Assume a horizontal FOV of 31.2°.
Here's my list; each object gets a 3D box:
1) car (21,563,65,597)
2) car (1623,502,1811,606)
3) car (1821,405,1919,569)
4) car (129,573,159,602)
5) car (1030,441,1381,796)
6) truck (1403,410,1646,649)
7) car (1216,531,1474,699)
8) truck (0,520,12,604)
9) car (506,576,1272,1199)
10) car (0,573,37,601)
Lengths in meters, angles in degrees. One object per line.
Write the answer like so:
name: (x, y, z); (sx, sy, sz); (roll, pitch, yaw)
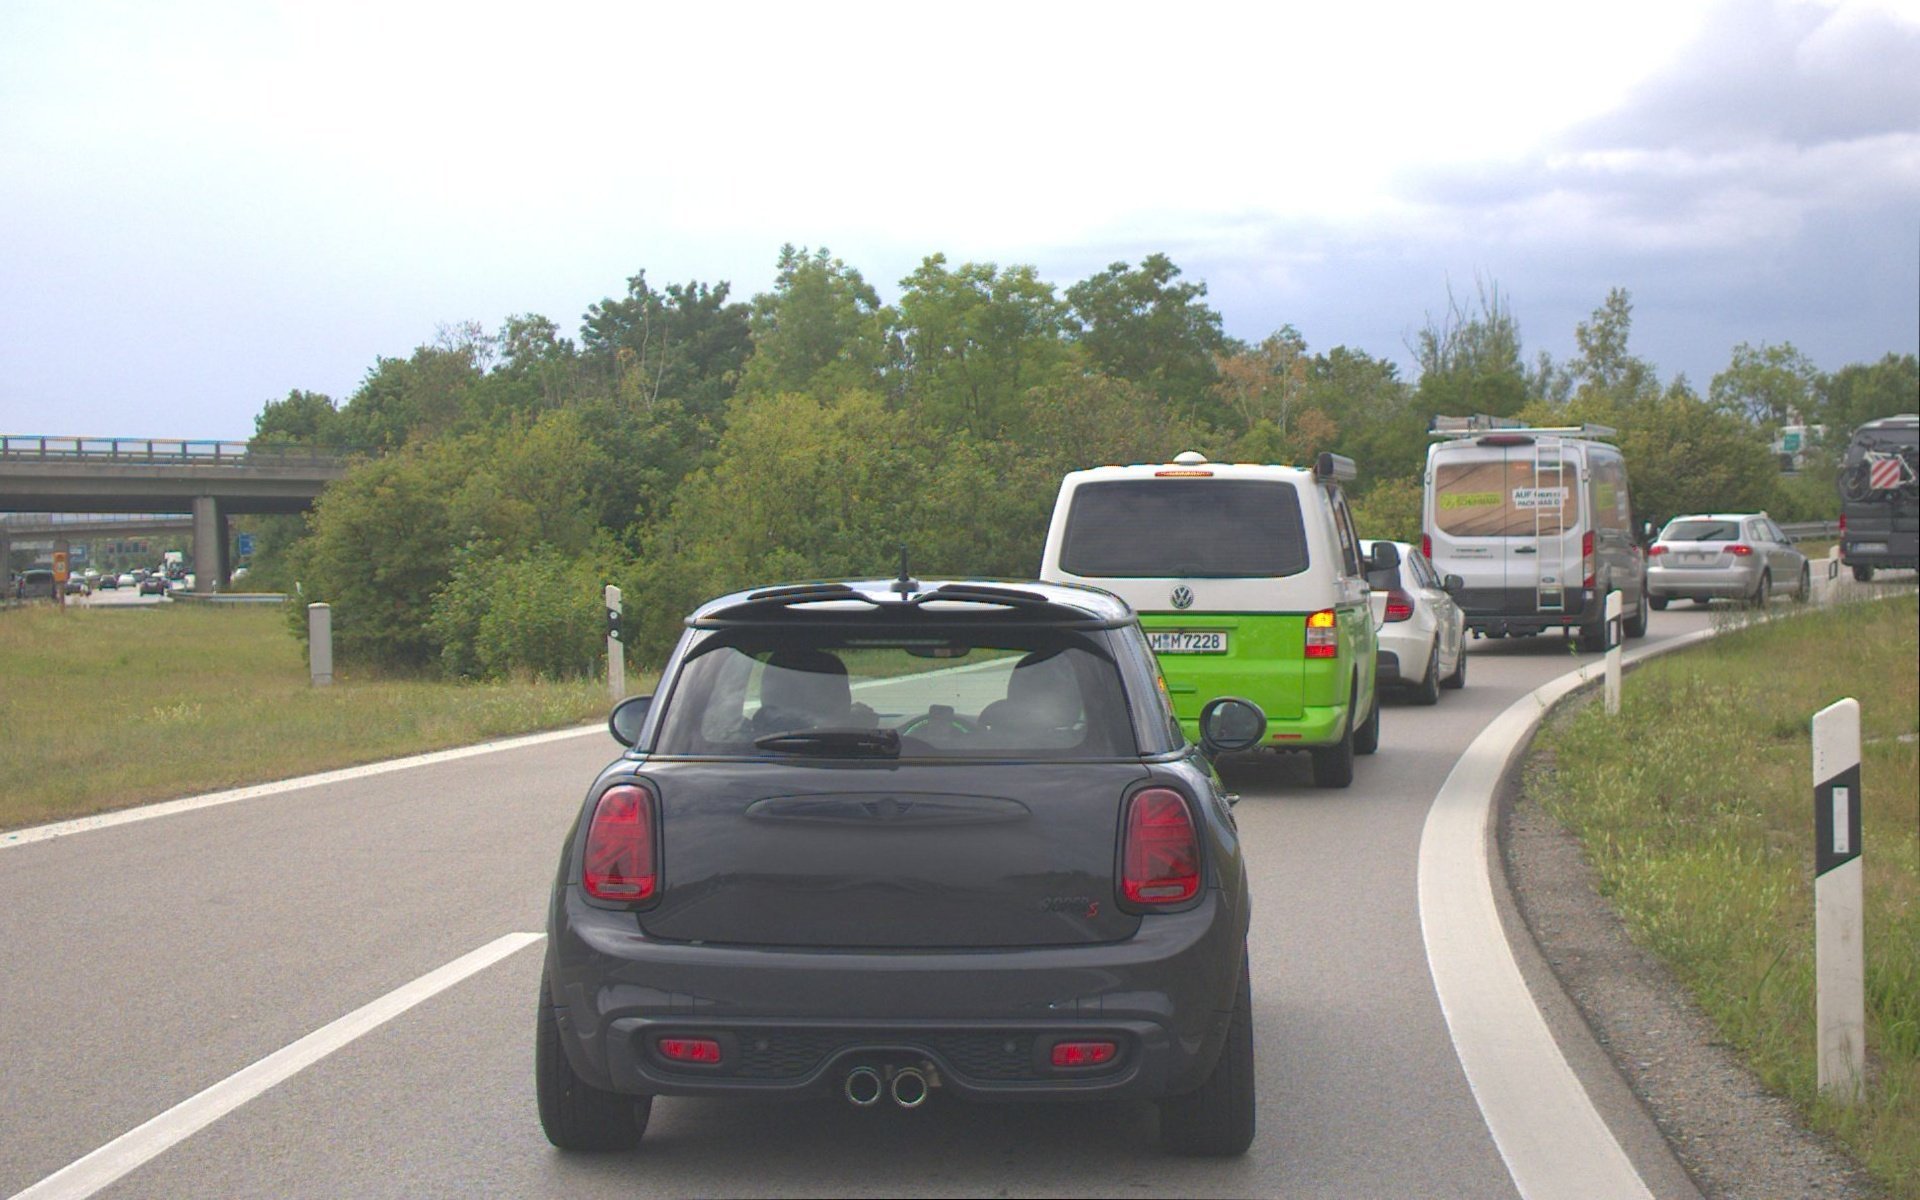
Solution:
car: (-48.655, -1.062, 182.450); (1.876, 1.745, 4.488); (-1, 1, -10)
car: (11.464, -0.691, 51.896); (1.869, 1.505, 3.994); (0, 1, 26)
car: (16.848, -1.954, 60.646); (2.108, 2.787, 3.993); (1, 1, 31)
car: (-58.204, -0.897, 245.307); (1.993, 2.007, 4.001); (1, 0, -13)
car: (1.633, 0.076, 21.555); (1.785, 2.007, 3.998); (0, 1, 10)
truck: (6.769, -0.843, 40.754); (2.180, 2.649, 5.105); (0, 1, 17)
car: (3.478, 0.107, 30.534); (1.763, 1.394, 3.723); (0, 1, 14)
truck: (-40.183, -1.510, 139.903); (2.466, 3.359, 7.926); (-1, 0, -12)
car: (-0.132, 0.646, 9.632); (1.727, 1.409, 3.725); (0, 1, 1)
car: (-60.702, -0.851, 221.408); (1.993, 1.779, 5.413); (-1, 1, -11)
